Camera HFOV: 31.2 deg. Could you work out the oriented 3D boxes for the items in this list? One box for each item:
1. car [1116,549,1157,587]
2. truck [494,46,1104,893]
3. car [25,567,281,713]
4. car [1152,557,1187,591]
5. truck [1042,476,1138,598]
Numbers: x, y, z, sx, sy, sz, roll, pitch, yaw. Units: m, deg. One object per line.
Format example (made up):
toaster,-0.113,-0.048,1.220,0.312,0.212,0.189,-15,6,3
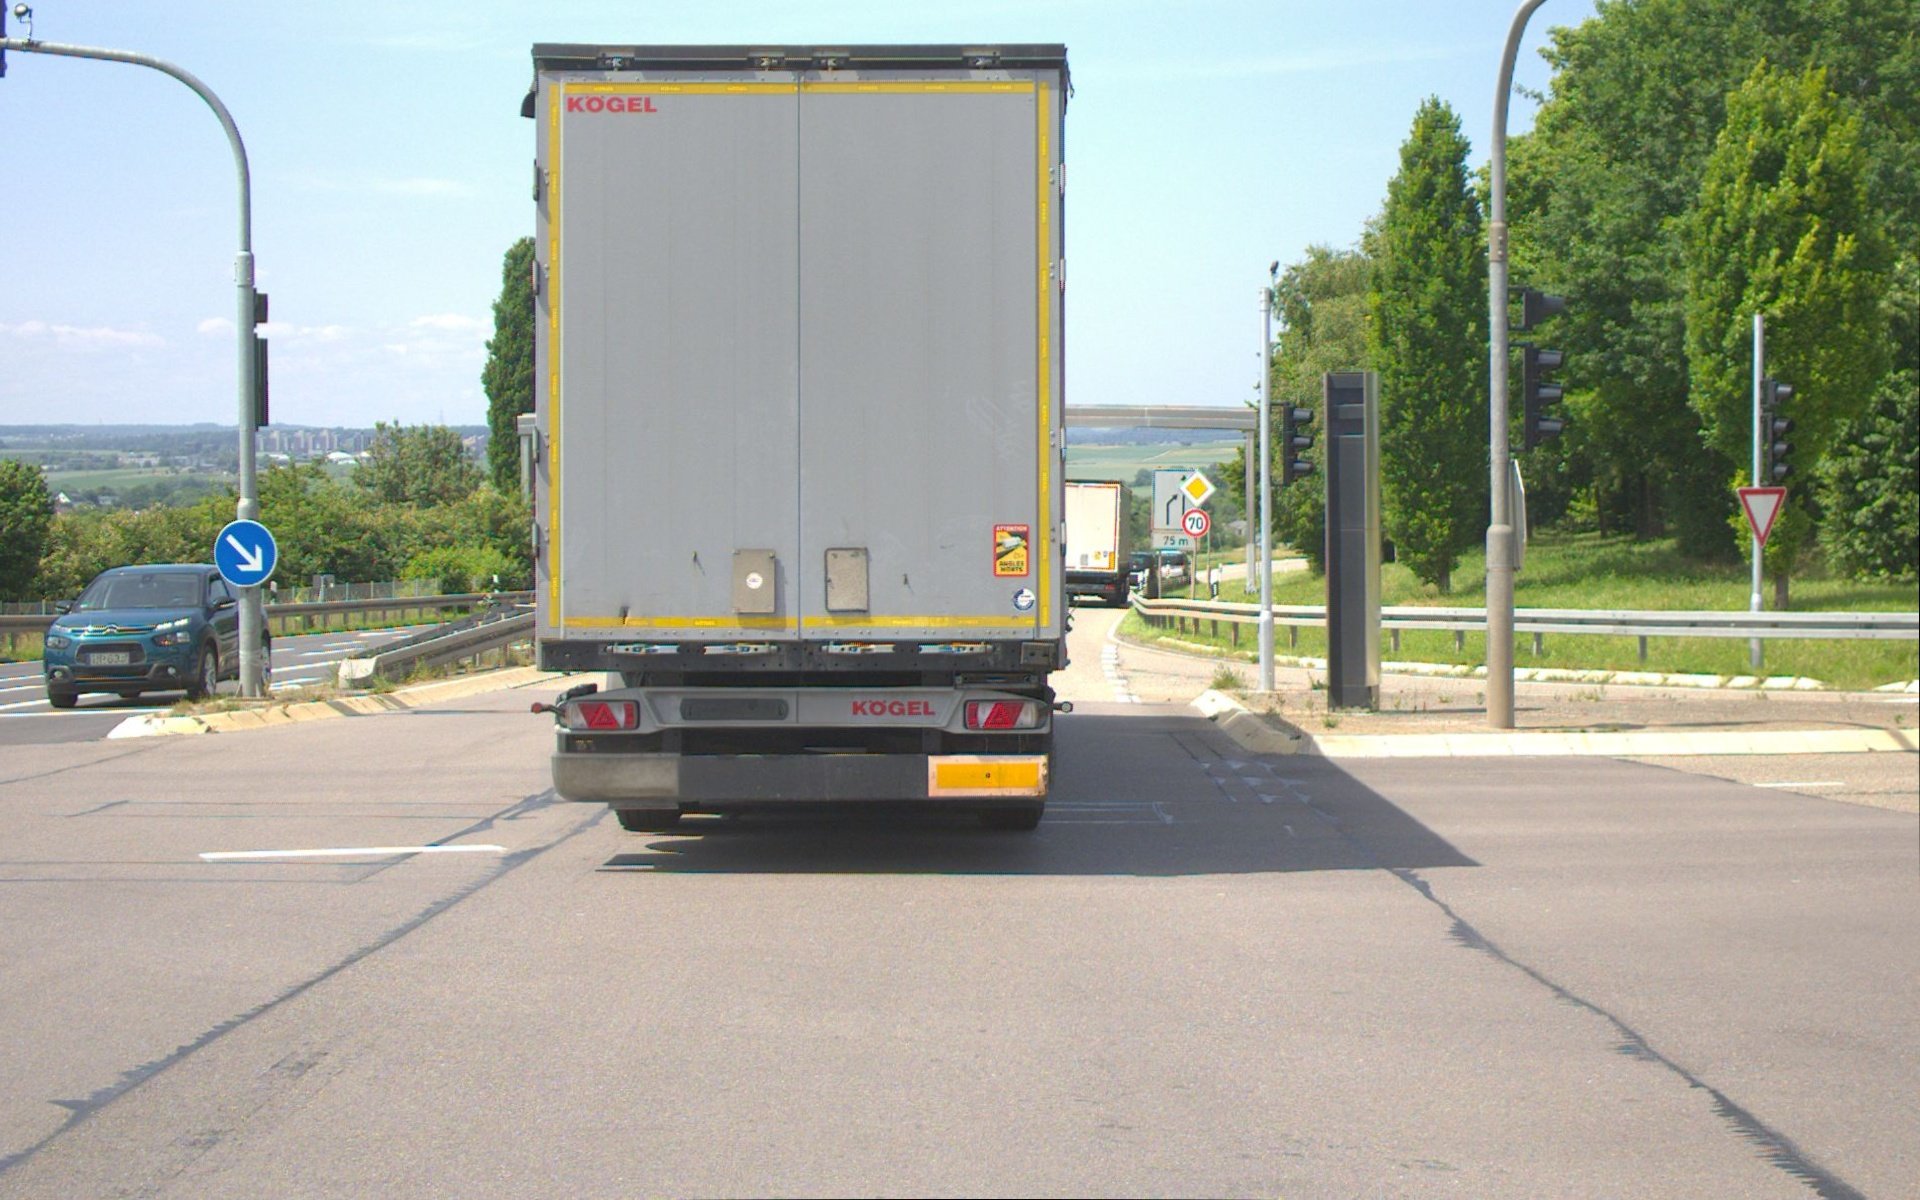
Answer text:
car,8.152,-1.476,158.547,1.786,1.682,3.999,1,0,4
truck,-1.054,-0.678,21.712,2.799,3.916,11.343,1,1,-3
car,-8.762,0.394,37.661,1.755,1.464,4.196,-1,1,1
car,10.814,-1.321,177.529,1.786,1.682,3.999,1,0,4
truck,4.322,-1.974,112.758,2.656,3.752,10.160,1,0,5
